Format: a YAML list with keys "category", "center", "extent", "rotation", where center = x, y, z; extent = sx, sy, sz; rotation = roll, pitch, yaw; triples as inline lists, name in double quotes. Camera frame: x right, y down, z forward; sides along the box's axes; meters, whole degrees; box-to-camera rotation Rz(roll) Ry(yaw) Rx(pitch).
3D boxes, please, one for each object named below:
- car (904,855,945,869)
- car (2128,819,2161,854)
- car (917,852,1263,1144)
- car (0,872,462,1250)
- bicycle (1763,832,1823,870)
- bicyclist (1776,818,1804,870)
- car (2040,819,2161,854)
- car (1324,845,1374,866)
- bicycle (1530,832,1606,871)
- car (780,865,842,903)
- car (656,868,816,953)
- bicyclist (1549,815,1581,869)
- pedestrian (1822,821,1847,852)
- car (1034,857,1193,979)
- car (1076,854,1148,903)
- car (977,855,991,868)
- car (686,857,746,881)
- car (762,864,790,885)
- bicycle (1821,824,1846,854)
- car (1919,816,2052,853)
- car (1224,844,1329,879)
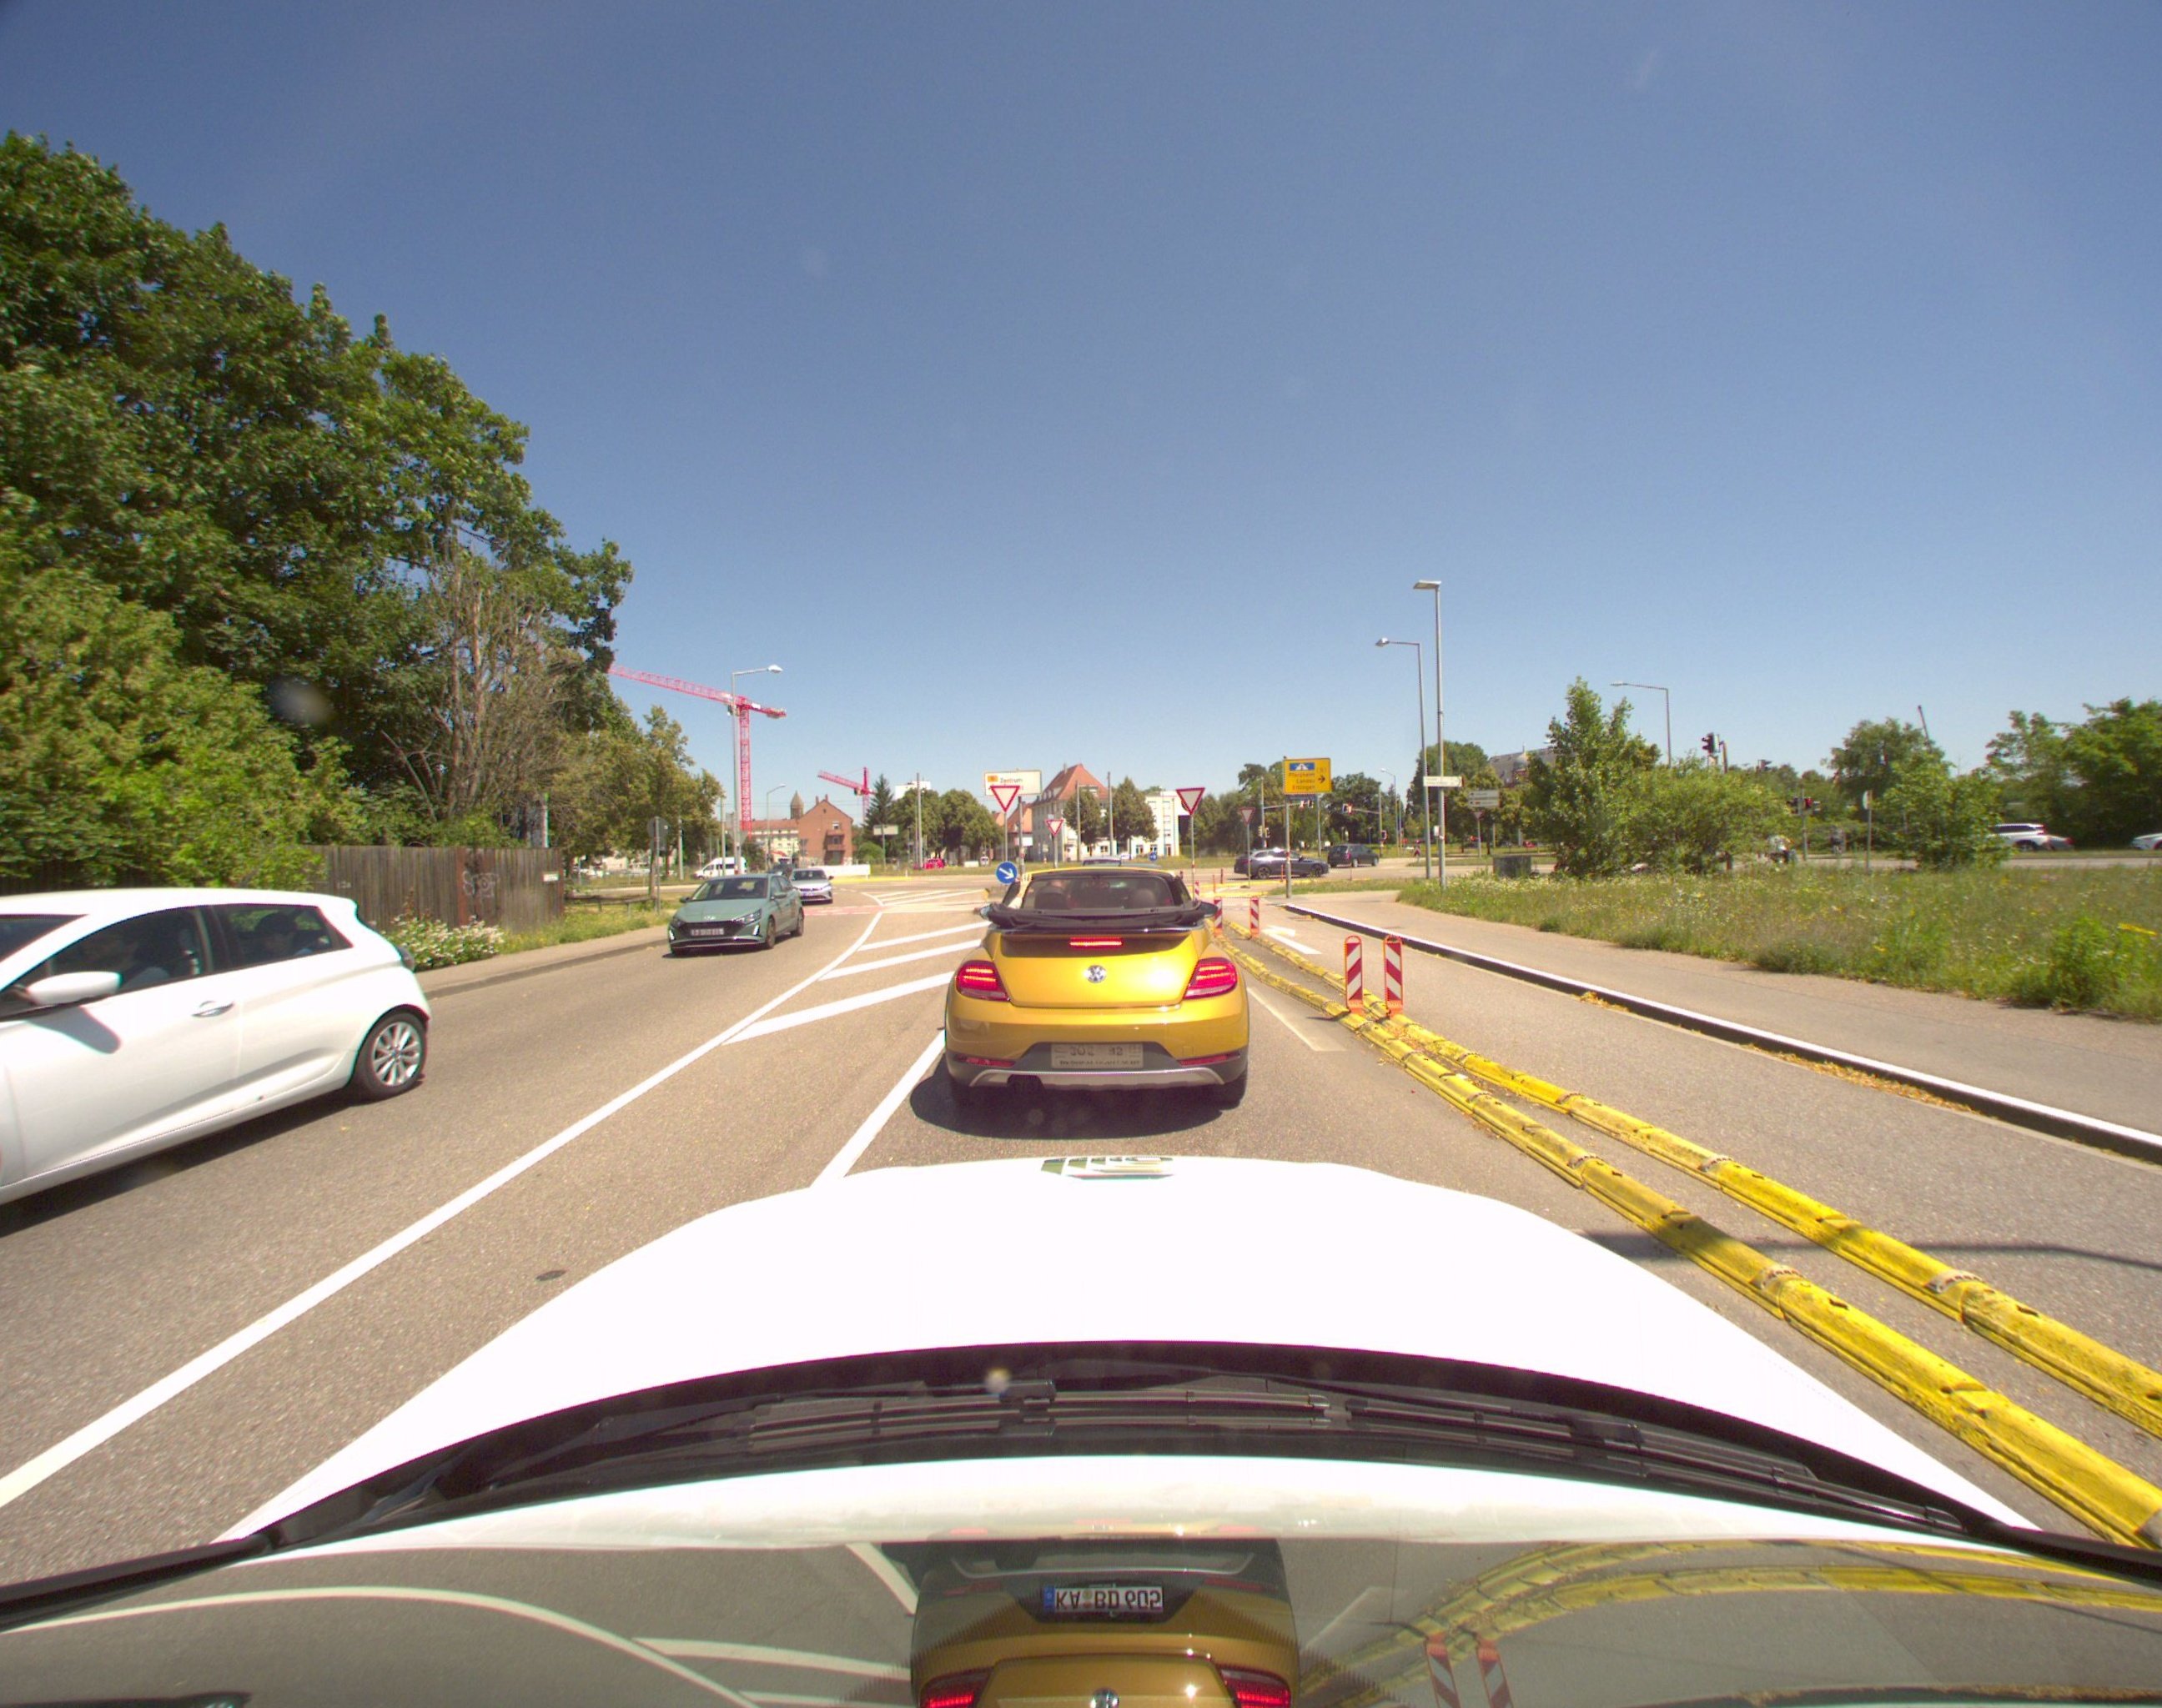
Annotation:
- category: "car"
  center: [-18.567, 0.939, 96.673]
  extent: [4.367, 1.654, 1.879]
  rotation: [0, -1, -38]
- category: "car"
  center: [51.278, -0.838, 36.946]
  extent: [4.389, 1.592, 1.860]
  rotation: [-1, -1, 43]
- category: "car"
  center: [0.110, 0.755, 6.301]
  extent: [1.758, 1.481, 4.259]
  rotation: [0, -1, 2]
- category: "car"
  center: [-5.512, 0.934, 4.223]
  extent: [1.772, 1.527, 3.867]
  rotation: [-2, 0, -4]
- category: "bicycle"
  center: [25.884, -0.101, 29.589]
  extent: [2.902, 1.353, 0.635]
  rotation: [0, -1, -28]
- category: "bicyclist"
  center: [25.845, -0.354, 29.681]
  extent: [0.573, 1.841, 0.603]
  rotation: [0, -1, -29]
- category: "car"
  center: [51.471, -0.846, 40.675]
  extent: [4.389, 1.592, 1.860]
  rotation: [-1, -1, 43]
- category: "car"
  center: [16.618, 0.115, 50.394]
  extent: [3.233, 1.259, 1.422]
  rotation: [0, -1, -39]
- category: "bicycle"
  center: [16.301, -0.071, 27.290]
  extent: [2.082, 1.221, 0.634]
  rotation: [-2, 0, 4]
- category: "car"
  center: [-11.016, 1.178, 33.009]
  extent: [1.737, 1.402, 4.232]
  rotation: [0, -1, -28]
- category: "car"
  center: [-6.796, 1.035, 16.565]
  extent: [1.744, 1.371, 4.322]
  rotation: [-2, 0, -6]
- category: "bicyclist"
  center: [16.199, -0.394, 27.274]
  extent: [0.667, 1.752, 0.593]
  rotation: [-3, 1, 3]
- category: "pedestrian"
  center: [40.946, -0.928, 44.263]
  extent: [0.959, 1.660, 0.892]
  rotation: [-1, -1, 44]
- category: "car"
  center: [0.453, 0.767, 11.780]
  extent: [1.844, 1.366, 4.260]
  rotation: [-2, 0, 2]
- category: "car"
  center: [0.958, 0.717, 25.377]
  extent: [2.057, 1.382, 4.259]
  rotation: [0, -1, 2]
- category: "car"
  center: [-16.982, 1.314, 142.853]
  extent: [1.989, 2.070, 5.305]
  rotation: [0, -1, -12]
- category: "car"
  center: [-37.012, 1.473, 82.679]
  extent: [5.324, 2.397, 1.982]
  rotation: [0, -1, -17]
- category: "car"
  center: [-25.496, 1.691, 68.170]
  extent: [1.752, 1.706, 3.981]
  rotation: [0, -1, -14]
- category: "bicycle"
  center: [40.950, -0.800, 44.327]
  extent: [0.972, 1.597, 2.900]
  rotation: [-1, -1, 43]
- category: "car"
  center: [45.944, -0.955, 41.523]
  extent: [4.389, 1.736, 1.860]
  rotation: [-1, -1, 43]
- category: "car"
  center: [9.505, 0.363, 39.829]
  extent: [4.529, 1.481, 2.064]
  rotation: [-2, 0, -11]
